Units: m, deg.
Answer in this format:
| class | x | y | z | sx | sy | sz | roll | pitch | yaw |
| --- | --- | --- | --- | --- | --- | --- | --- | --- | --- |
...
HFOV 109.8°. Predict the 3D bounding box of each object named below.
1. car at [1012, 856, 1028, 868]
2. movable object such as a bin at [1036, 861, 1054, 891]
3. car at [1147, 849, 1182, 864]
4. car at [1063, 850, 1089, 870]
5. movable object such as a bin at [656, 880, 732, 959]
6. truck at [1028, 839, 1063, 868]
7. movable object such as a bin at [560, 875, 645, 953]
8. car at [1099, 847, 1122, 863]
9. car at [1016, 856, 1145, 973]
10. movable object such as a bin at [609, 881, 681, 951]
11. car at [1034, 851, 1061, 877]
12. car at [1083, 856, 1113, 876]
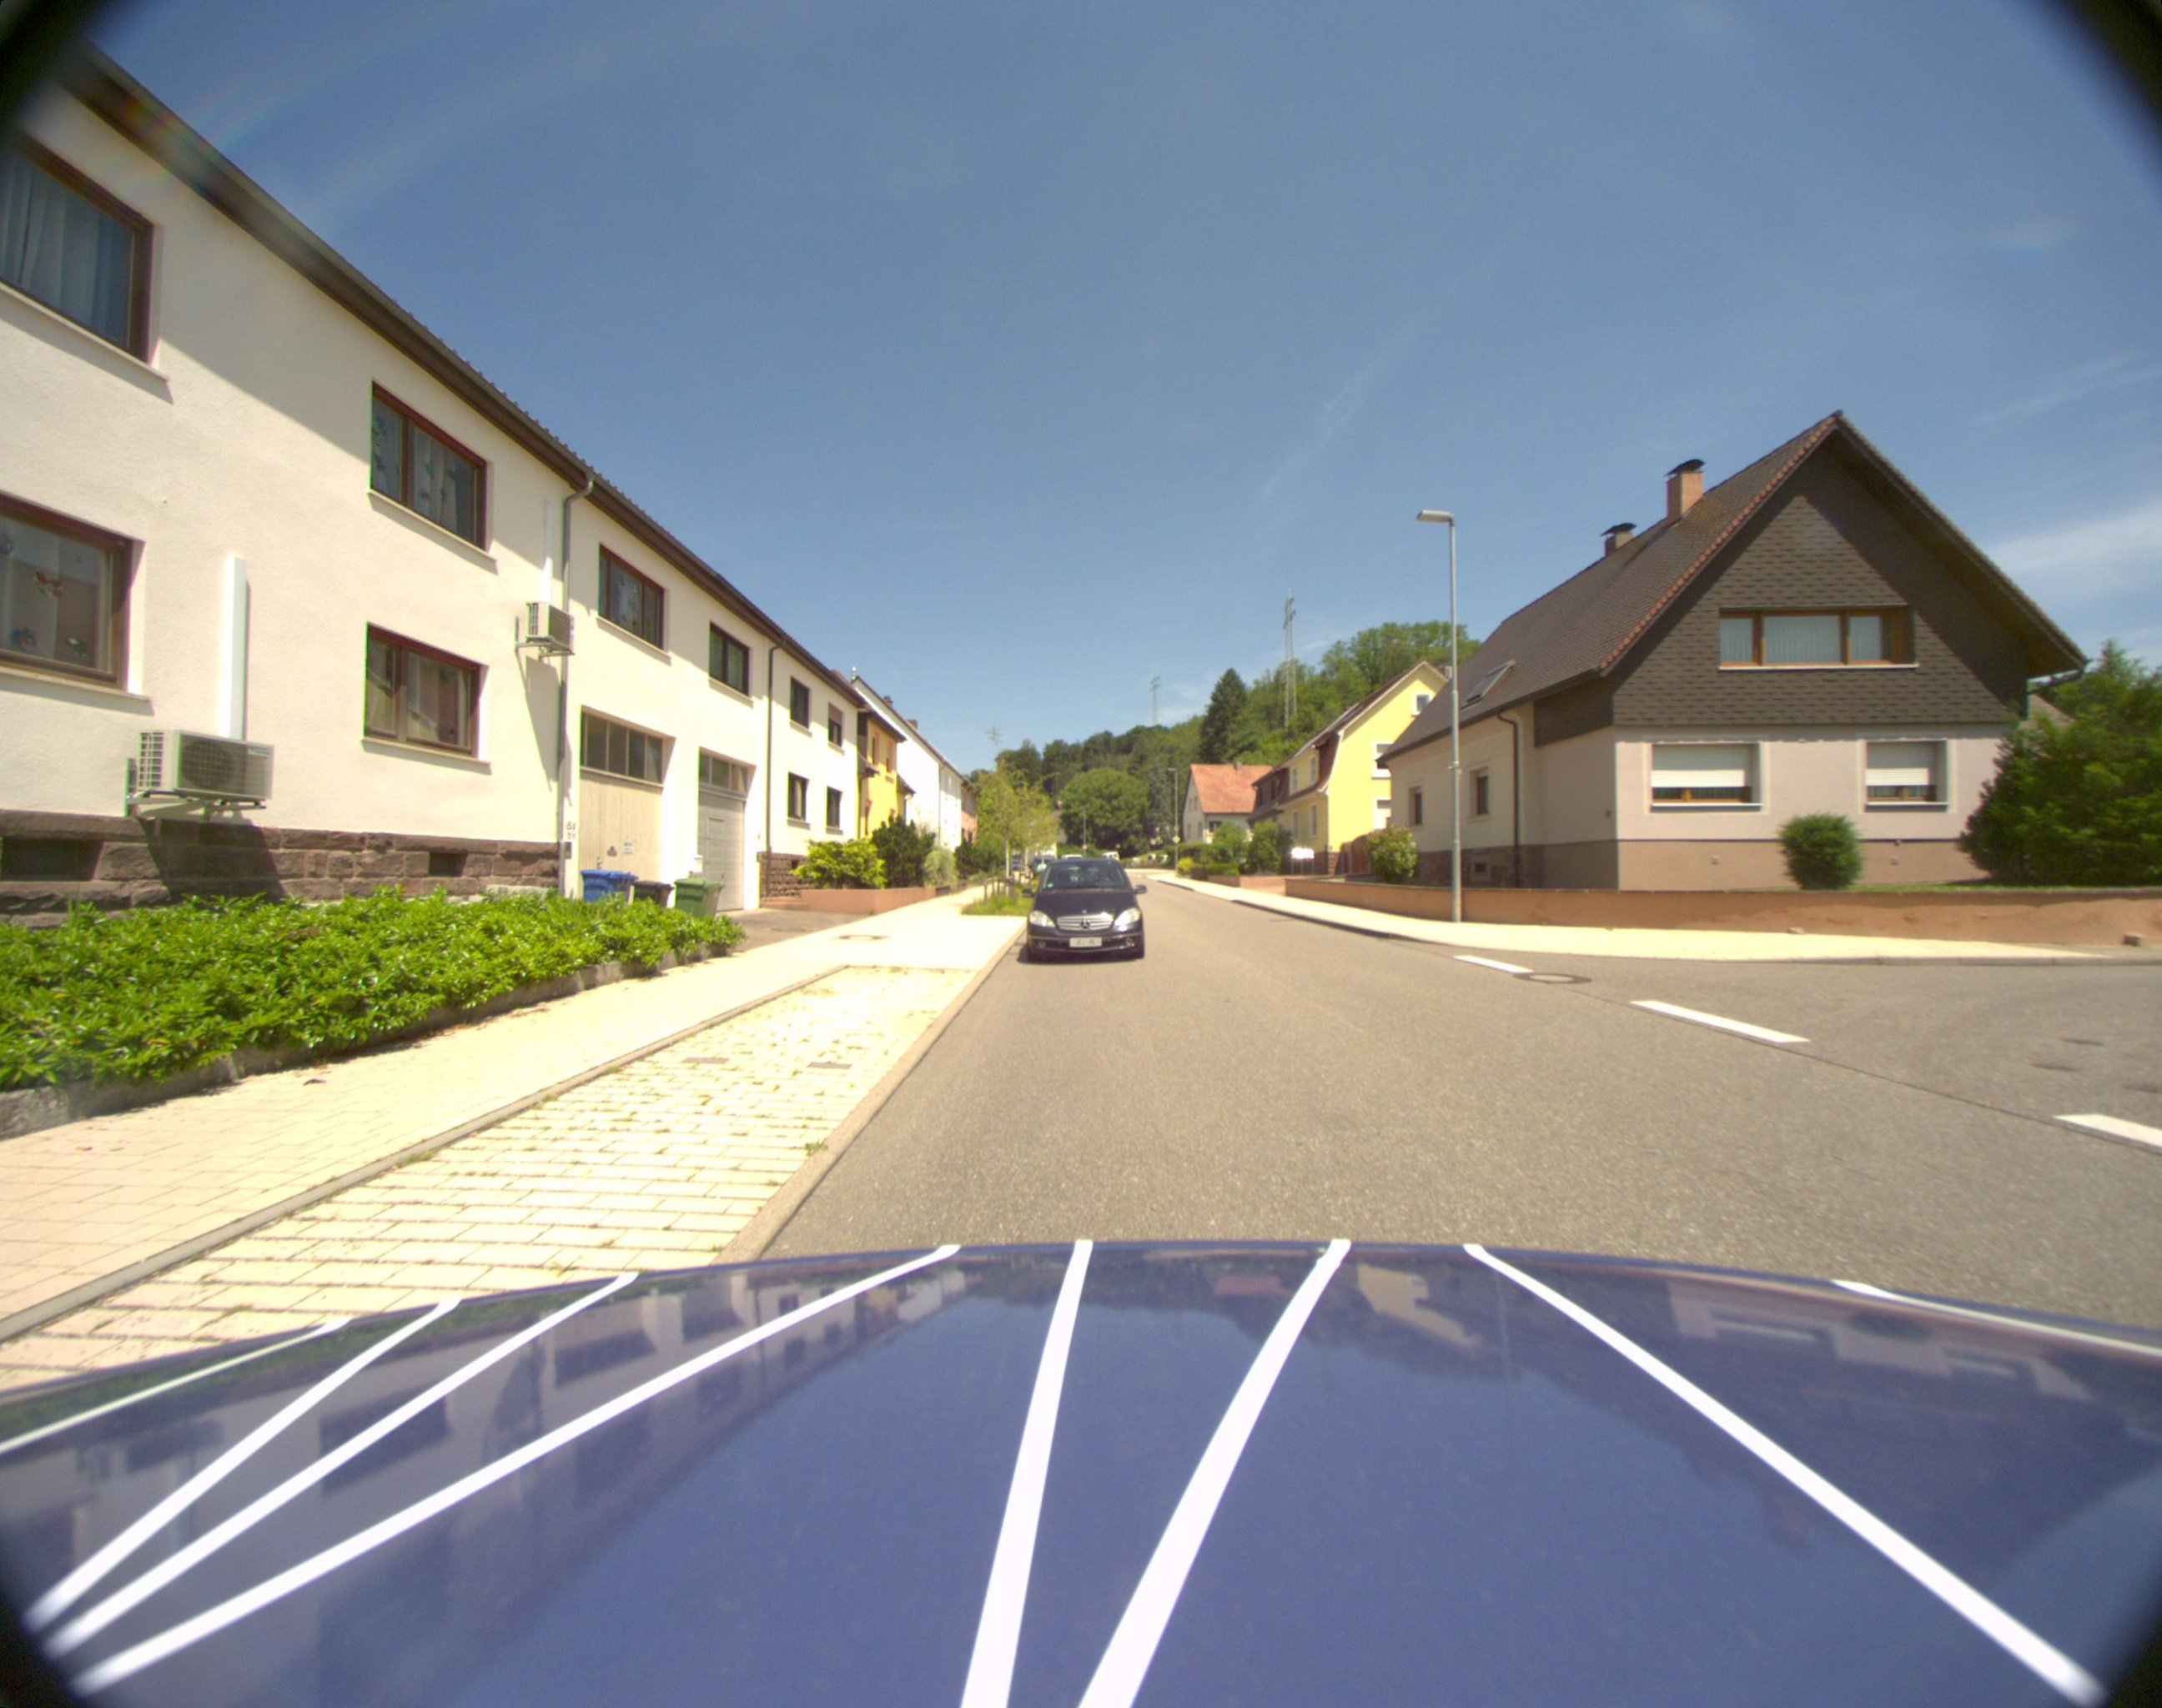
| class | x | y | z | sx | sy | sz | roll | pitch | yaw |
| --- | --- | --- | --- | --- | --- | --- | --- | --- | --- |
| car | -7.368 | 0.993 | 91.676 | 1.676 | 1.368 | 3.997 | 0 | 0 | -8 |
| movable object such as a bin | -1.708 | 1.018 | 35.839 | 0.794 | 1.387 | 0.925 | -1 | 1 | -2 |
| car | 10.481 | 0.255 | 95.676 | 4.004 | 1.779 | 1.807 | -2 | 0 | -22 |
| car | -0.516 | 0.564 | 72.752 | 1.969 | 1.823 | 4.461 | 0 | 0 | -8 |
| movable object such as a bin | -6.011 | 1.001 | 11.830 | 0.685 | 1.109 | 0.812 | 3 | 1 | 6 |
| truck | -4.417 | -0.043 | 93.027 | 2.809 | 3.394 | 8.110 | -2 | 0 | -13 |
| movable object such as a bin | -7.388 | 0.899 | 11.758 | 0.686 | 1.100 | 0.863 | 3 | 1 | 7 |
| car | 3.799 | 0.103 | 98.366 | 1.706 | 1.937 | 3.993 | -2 | 1 | -18 |
| car | 0.066 | 0.874 | 12.912 | 1.790 | 1.595 | 4.075 | -2 | 0 | 2 |
| movable object such as a bin | -6.702 | 0.939 | 11.707 | 0.559 | 0.980 | 0.803 | 4 | 1 | 7 |
| car | -2.535 | 0.694 | 56.910 | 1.860 | 1.832 | 4.669 | 1 | 0 | -3 |
| car | 1.179 | 0.806 | 54.245 | 1.910 | 1.342 | 3.999 | -1 | 0 | -3 |
